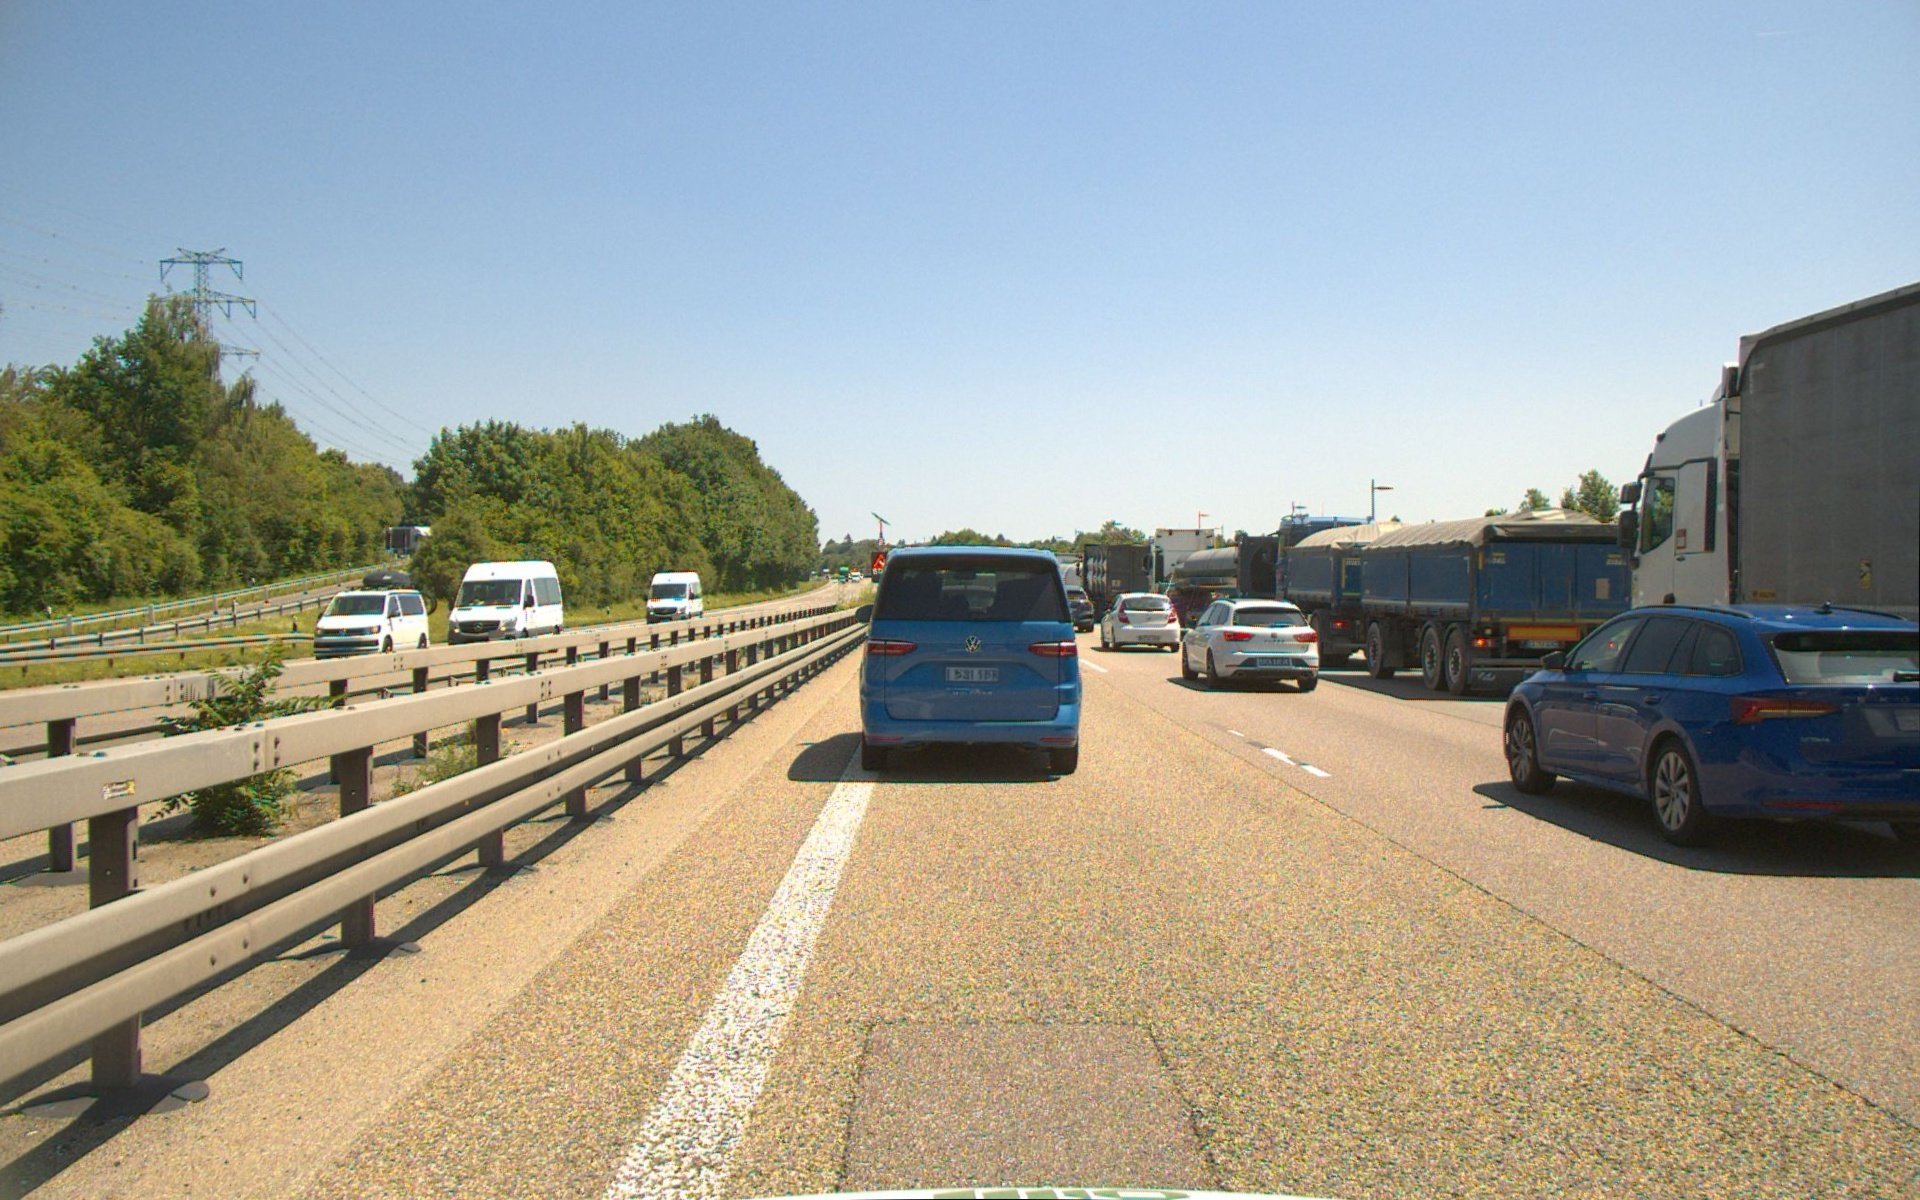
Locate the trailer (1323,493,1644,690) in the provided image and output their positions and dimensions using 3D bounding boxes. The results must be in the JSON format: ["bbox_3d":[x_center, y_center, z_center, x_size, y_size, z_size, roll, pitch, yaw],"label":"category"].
[{"bbox_3d":[8.769,-0.215,29.106,2.688,2.886,9.115,1,1,0],"label":"trailer"}]

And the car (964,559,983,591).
[{"bbox_3d":[2.146,-3.945,265.638,2.661,4.795,11.558,1,0,-1],"label":"car"}]

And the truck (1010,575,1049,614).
[{"bbox_3d":[3.470,-0.259,82.726,1.690,1.890,3.999,1,0,-1],"label":"truck"}]

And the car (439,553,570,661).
[{"bbox_3d":[-12.587,0.200,46.139,2.011,2.697,5.837,-4,0,-1],"label":"car"}]

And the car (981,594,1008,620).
[{"bbox_3d":[2.749,0.578,132.785,1.953,2.049,3.999,1,0,-1],"label":"car"}]

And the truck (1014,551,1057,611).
[{"bbox_3d":[6.515,-1.566,143.724,3.006,5.006,10.688,1,0,-1],"label":"truck"}]

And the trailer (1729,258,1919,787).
[{"bbox_3d":[8.955,-0.580,9.184,2.902,4.120,13.750,0,0,0],"label":"trailer"}]

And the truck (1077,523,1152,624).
[{"bbox_3d":[8.356,-1.379,90.149,3.583,5.270,5.709,1,0,1],"label":"truck"}]

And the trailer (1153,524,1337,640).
[{"bbox_3d":[8.785,-0.445,53.492,3.571,3.133,15.774,1,0,1],"label":"trailer"}]

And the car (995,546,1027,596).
[{"bbox_3d":[5.539,-3.159,182.504,3.152,5.349,8.143,1,0,0],"label":"car"}]

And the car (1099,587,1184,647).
[{"bbox_3d":[4.755,0.438,43.771,1.803,1.480,3.999,1,0,0],"label":"car"}]

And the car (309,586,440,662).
[{"bbox_3d":[-16.380,0.648,46.580,1.827,1.938,5.490,-2,0,-2],"label":"car"}]

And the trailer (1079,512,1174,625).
[{"bbox_3d":[8.251,-1.429,83.711,3.571,5.226,13.075,1,0,1],"label":"trailer"}]

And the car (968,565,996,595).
[{"bbox_3d":[2.103,-1.917,160.141,2.499,2.765,5.620,1,0,-1],"label":"car"}]

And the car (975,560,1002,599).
[{"bbox_3d":[4.036,-2.860,235.980,3.155,5.349,8.137,1,0,-4],"label":"car"}]

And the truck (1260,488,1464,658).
[{"bbox_3d":[8.688,-0.614,36.659,2.688,3.369,7.132,1,1,0],"label":"truck"}]

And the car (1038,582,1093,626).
[{"bbox_3d":[3.923,0.148,61.938,1.744,1.551,3.999,1,0,-1],"label":"car"}]

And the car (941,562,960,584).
[{"bbox_3d":[-1.446,-4.089,254.176,2.436,3.260,7.366,1,0,-4],"label":"car"}]

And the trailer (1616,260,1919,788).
[{"bbox_3d":[8.899,-0.621,15.581,2.865,4.114,6.410,0,1,0],"label":"trailer"}]

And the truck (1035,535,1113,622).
[{"bbox_3d":[7.400,-1.290,109.939,3.548,5.304,15.682,1,0,-2],"label":"truck"}]

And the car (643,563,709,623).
[{"bbox_3d":[-13.216,-0.291,77.342,2.112,2.639,5.889,-1,0,-1],"label":"car"}]

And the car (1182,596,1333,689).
[{"bbox_3d":[4.860,0.648,27.521,1.829,1.385,4.000,1,0,1],"label":"car"}]

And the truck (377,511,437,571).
[{"bbox_3d":[-72.187,-7.564,215.746,4.624,7.354,13.500,1,0,-30],"label":"truck"}]

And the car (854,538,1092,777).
[{"bbox_3d":[0.130,0.468,15.161,1.862,1.870,4.000,1,0,1],"label":"car"}]

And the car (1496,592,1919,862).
[{"bbox_3d":[5.218,0.716,11.286,1.671,1.466,4.427,1,0,0],"label":"car"}]

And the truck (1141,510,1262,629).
[{"bbox_3d":[8.992,-1.063,62.582,3.551,4.166,7.524,1,0,1],"label":"truck"}]
